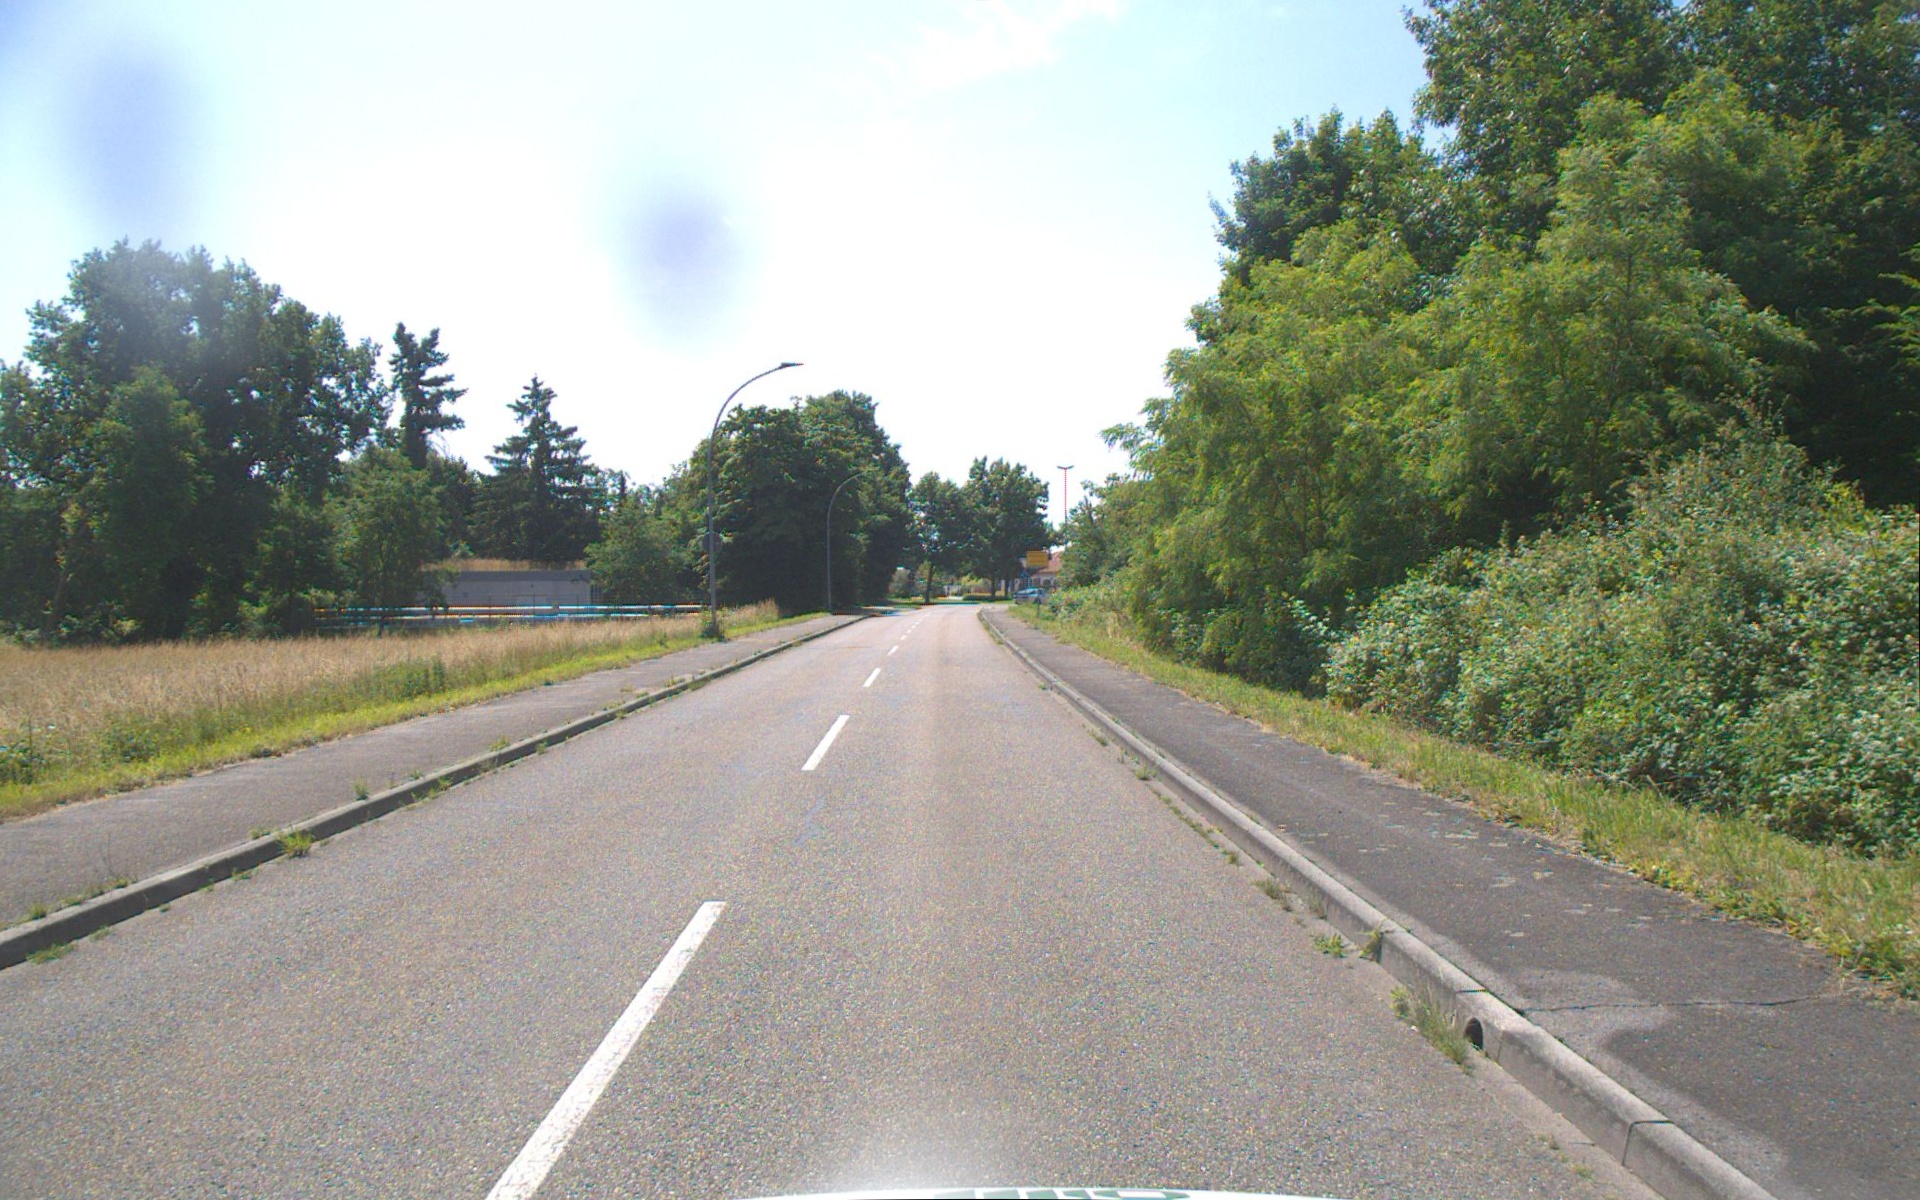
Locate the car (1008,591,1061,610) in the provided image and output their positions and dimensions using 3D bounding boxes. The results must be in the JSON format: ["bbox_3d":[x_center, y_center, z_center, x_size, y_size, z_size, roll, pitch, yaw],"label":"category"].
[{"bbox_3d":[5.123,0.012,114.177,3.523,1.311,1.596,0,0,-40],"label":"car"}]
